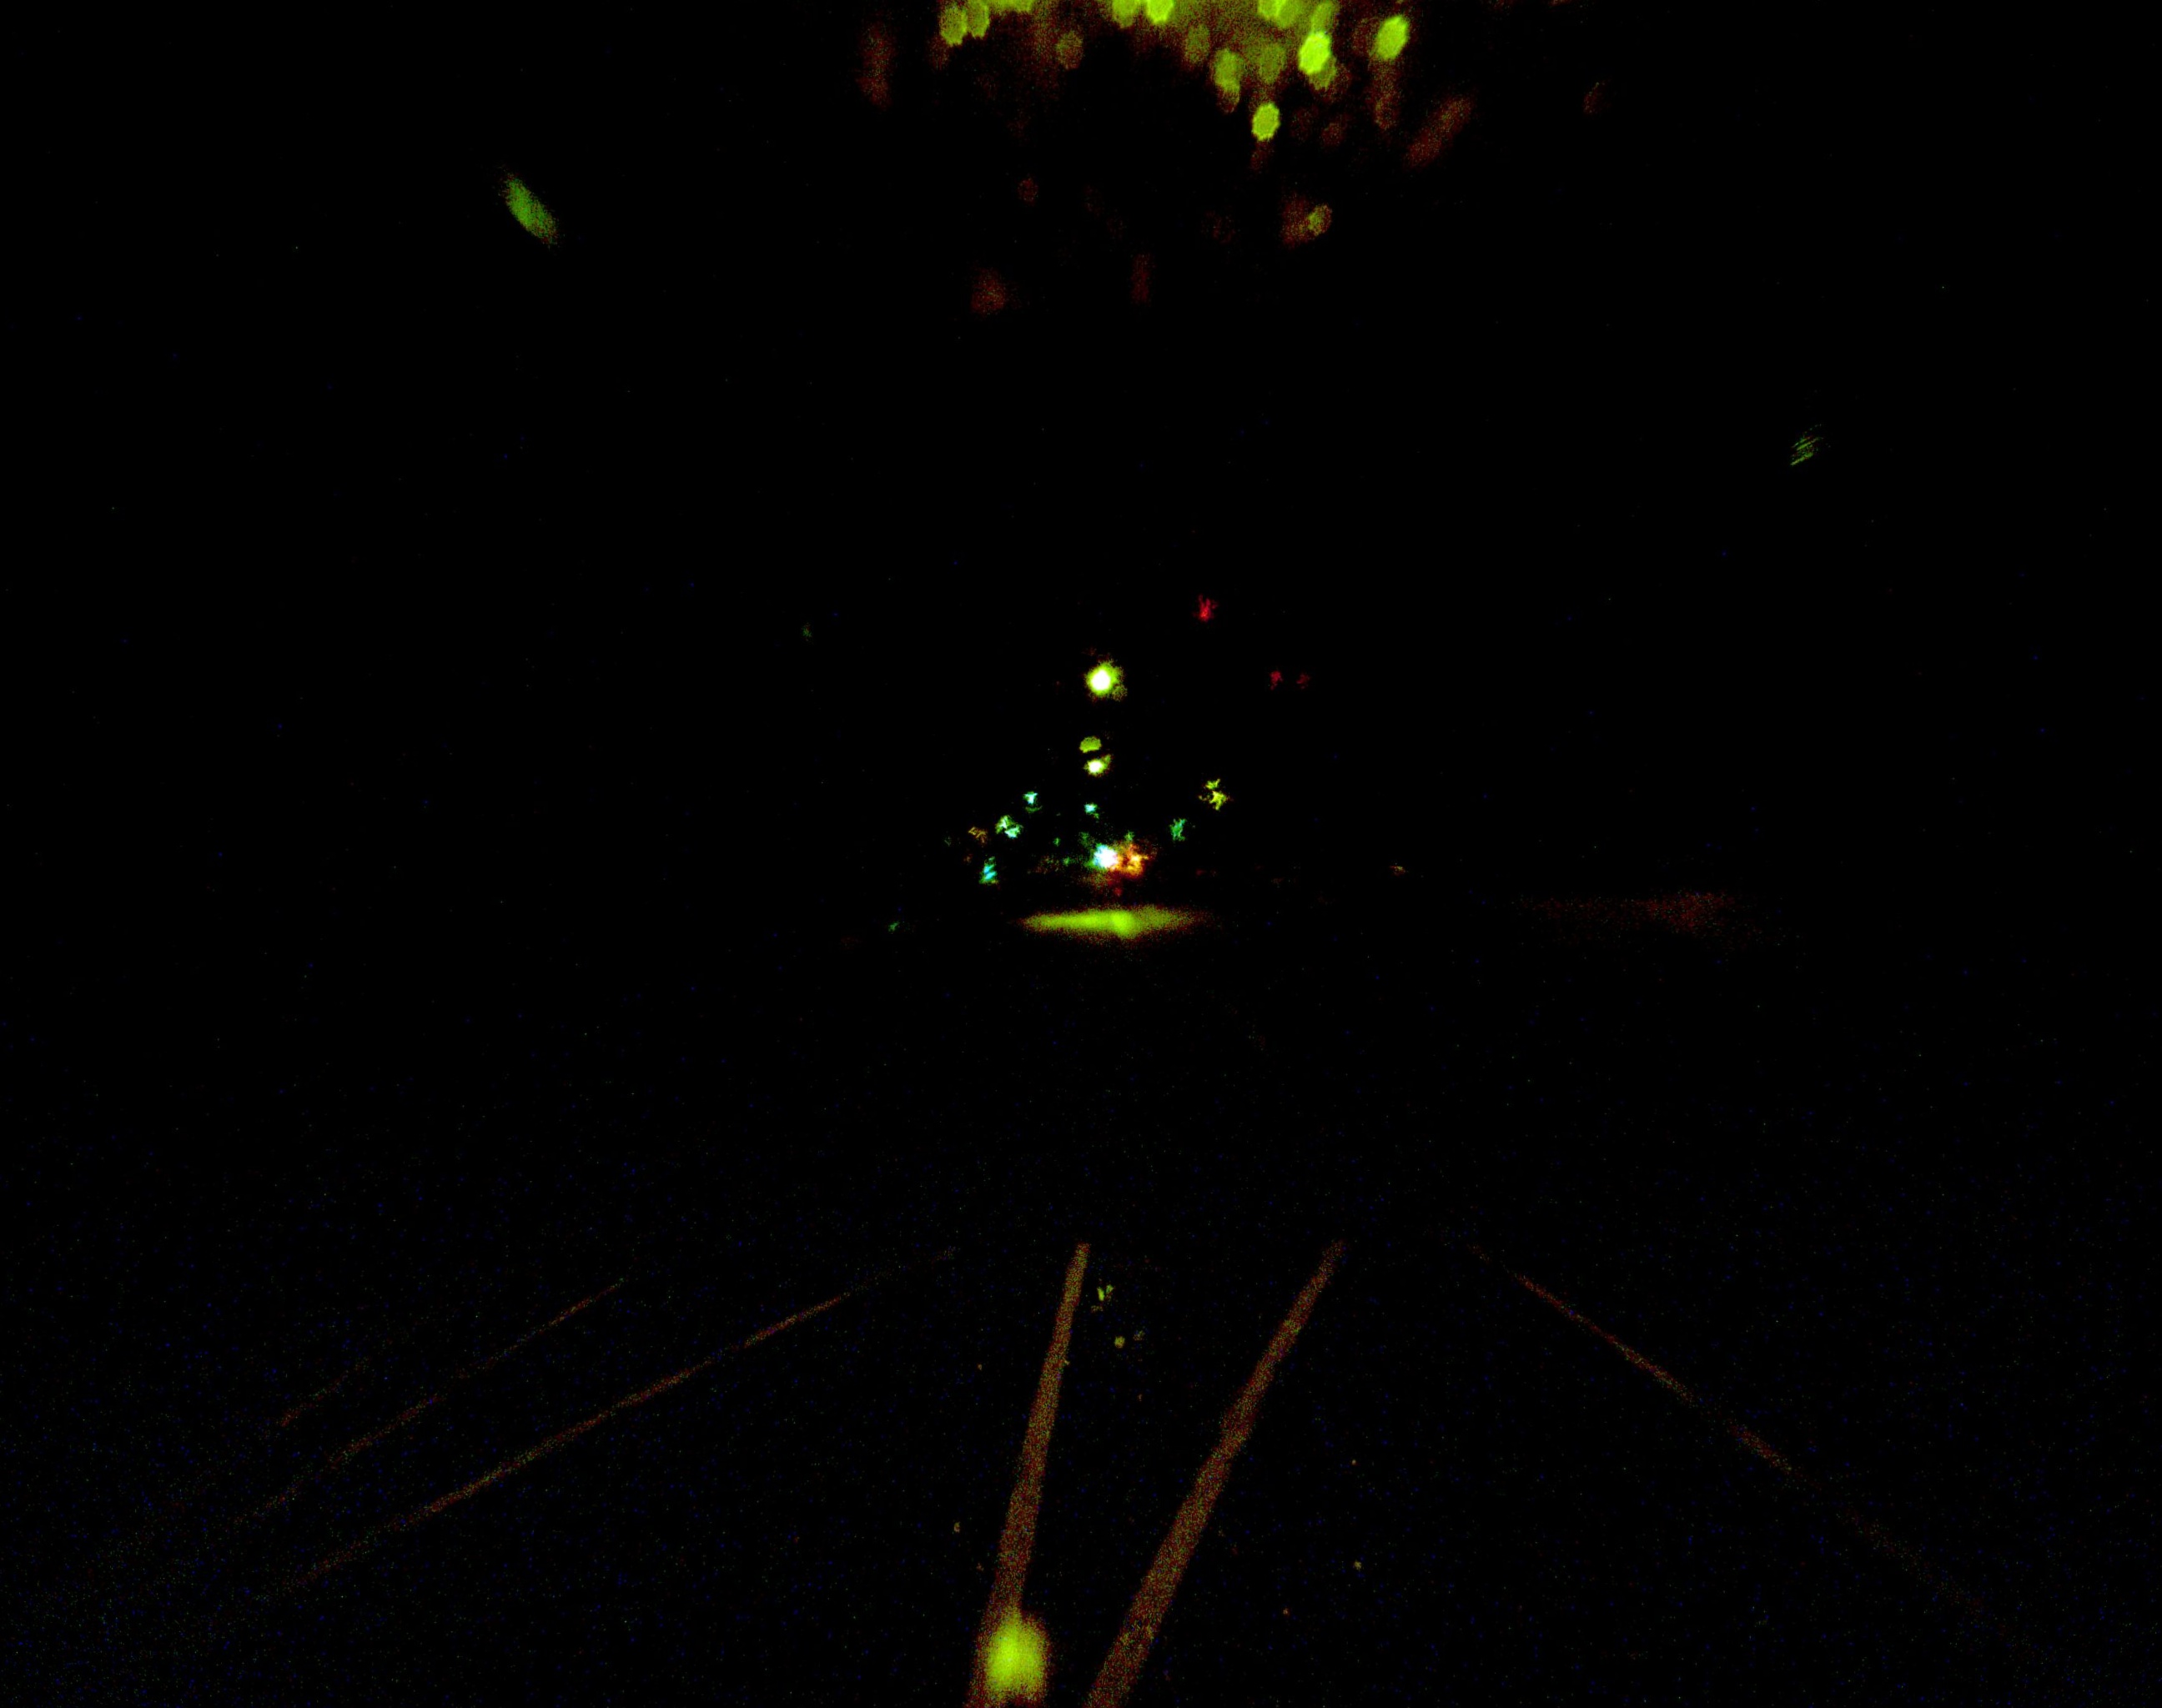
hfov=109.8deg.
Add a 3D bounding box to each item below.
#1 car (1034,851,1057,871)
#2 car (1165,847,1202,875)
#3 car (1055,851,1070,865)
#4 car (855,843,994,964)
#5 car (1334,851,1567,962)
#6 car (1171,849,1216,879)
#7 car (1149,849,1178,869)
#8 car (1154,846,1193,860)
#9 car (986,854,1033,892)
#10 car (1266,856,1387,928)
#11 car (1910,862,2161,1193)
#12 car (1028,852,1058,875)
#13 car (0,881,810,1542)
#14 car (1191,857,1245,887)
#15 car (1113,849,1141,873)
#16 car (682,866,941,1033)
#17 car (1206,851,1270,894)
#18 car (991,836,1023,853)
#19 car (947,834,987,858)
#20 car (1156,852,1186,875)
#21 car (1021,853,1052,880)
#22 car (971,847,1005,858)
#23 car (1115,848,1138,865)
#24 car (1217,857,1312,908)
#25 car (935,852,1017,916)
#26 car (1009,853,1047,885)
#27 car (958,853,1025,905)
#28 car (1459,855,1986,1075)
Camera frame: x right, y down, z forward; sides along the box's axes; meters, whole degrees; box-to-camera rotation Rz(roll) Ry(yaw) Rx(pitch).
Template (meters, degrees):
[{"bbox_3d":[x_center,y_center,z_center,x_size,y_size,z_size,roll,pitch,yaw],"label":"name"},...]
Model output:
[{"bbox_3d":[-3.027,0.567,64.914,1.896,1.581,3.834,1,0,-3],"label":"car"},{"bbox_3d":[6.155,0.370,45.944,1.628,1.564,3.962,2,1,-1],"label":"car"},{"bbox_3d":[-2.175,0.413,87.135,1.649,1.581,3.445,1,0,-3],"label":"car"},{"bbox_3d":[-2.864,0.792,15.217,1.800,1.938,5.852,1,0,-2],"label":"car"},{"bbox_3d":[5.899,0.730,12.822,1.670,1.531,4.390,1,0,-2],"label":"car"},{"bbox_3d":[5.934,0.488,40.565,1.799,1.464,4.396,1,0,0],"label":"car"},{"bbox_3d":[6.208,0.342,57.661,1.628,1.464,4.547,1,0,-1],"label":"car"},{"bbox_3d":[11.551,-0.102,94.863,4.539,1.696,1.852,1,0,15],"label":"car"},{"bbox_3d":[-3.029,0.778,32.902,1.800,1.539,3.950,1,0,-3],"label":"car"},{"bbox_3d":[5.917,0.834,18.867,1.670,1.531,4.391,1,0,1],"label":"car"},{"bbox_3d":[5.936,0.860,2.419,1.670,1.531,4.390,2,0,-1],"label":"car"},{"bbox_3d":[-2.670,0.667,54.361,1.799,1.539,4.785,1,0,1],"label":"car"},{"bbox_3d":[-3.043,0.954,3.979,1.800,1.439,4.278,1,0,-2],"label":"car"},{"bbox_3d":[6.251,0.781,35.252,1.843,1.261,4.638,1,0,2],"label":"car"},{"bbox_3d":[3.096,0.432,51.682,1.710,1.531,4.370,1,0,1],"label":"car"},{"bbox_3d":[-2.898,0.931,9.179,1.800,1.483,4.127,1,0,-3],"label":"car"},{"bbox_3d":[6.060,0.665,29.728,1.710,1.531,4.059,2,0,1],"label":"car"},{"bbox_3d":[-9.918,-1.237,101.865,4.022,2.156,1.802,1,1,7],"label":"car"},{"bbox_3d":[-12.570,-0.887,84.137,4.022,2.603,1.802,1,1,7],"label":"car"},{"bbox_3d":[6.127,0.627,51.954,1.627,1.464,3.963,1,0,2],"label":"car"},{"bbox_3d":[-2.589,0.711,44.990,1.608,1.464,3.951,1,0,-1],"label":"car"},{"bbox_3d":[-11.841,-0.187,96.771,4.022,1.261,1.802,1,0,7],"label":"car"},{"bbox_3d":[4.364,0.245,73.392,2.044,1.539,4.683,-1,0,2],"label":"car"},{"bbox_3d":[5.665,0.839,24.086,1.624,1.410,4.674,1,0,-3],"label":"car"},{"bbox_3d":[-2.737,0.742,20.568,1.800,1.539,3.950,1,0,-3],"label":"car"},{"bbox_3d":[-2.642,0.724,38.425,1.800,1.464,3.950,1,0,-3],"label":"car"},{"bbox_3d":[-2.909,0.756,25.584,1.873,1.570,4.746,1,0,-3],"label":"car"},{"bbox_3d":[5.830,0.825,7.813,1.670,1.531,4.391,3,0,1],"label":"car"}]
